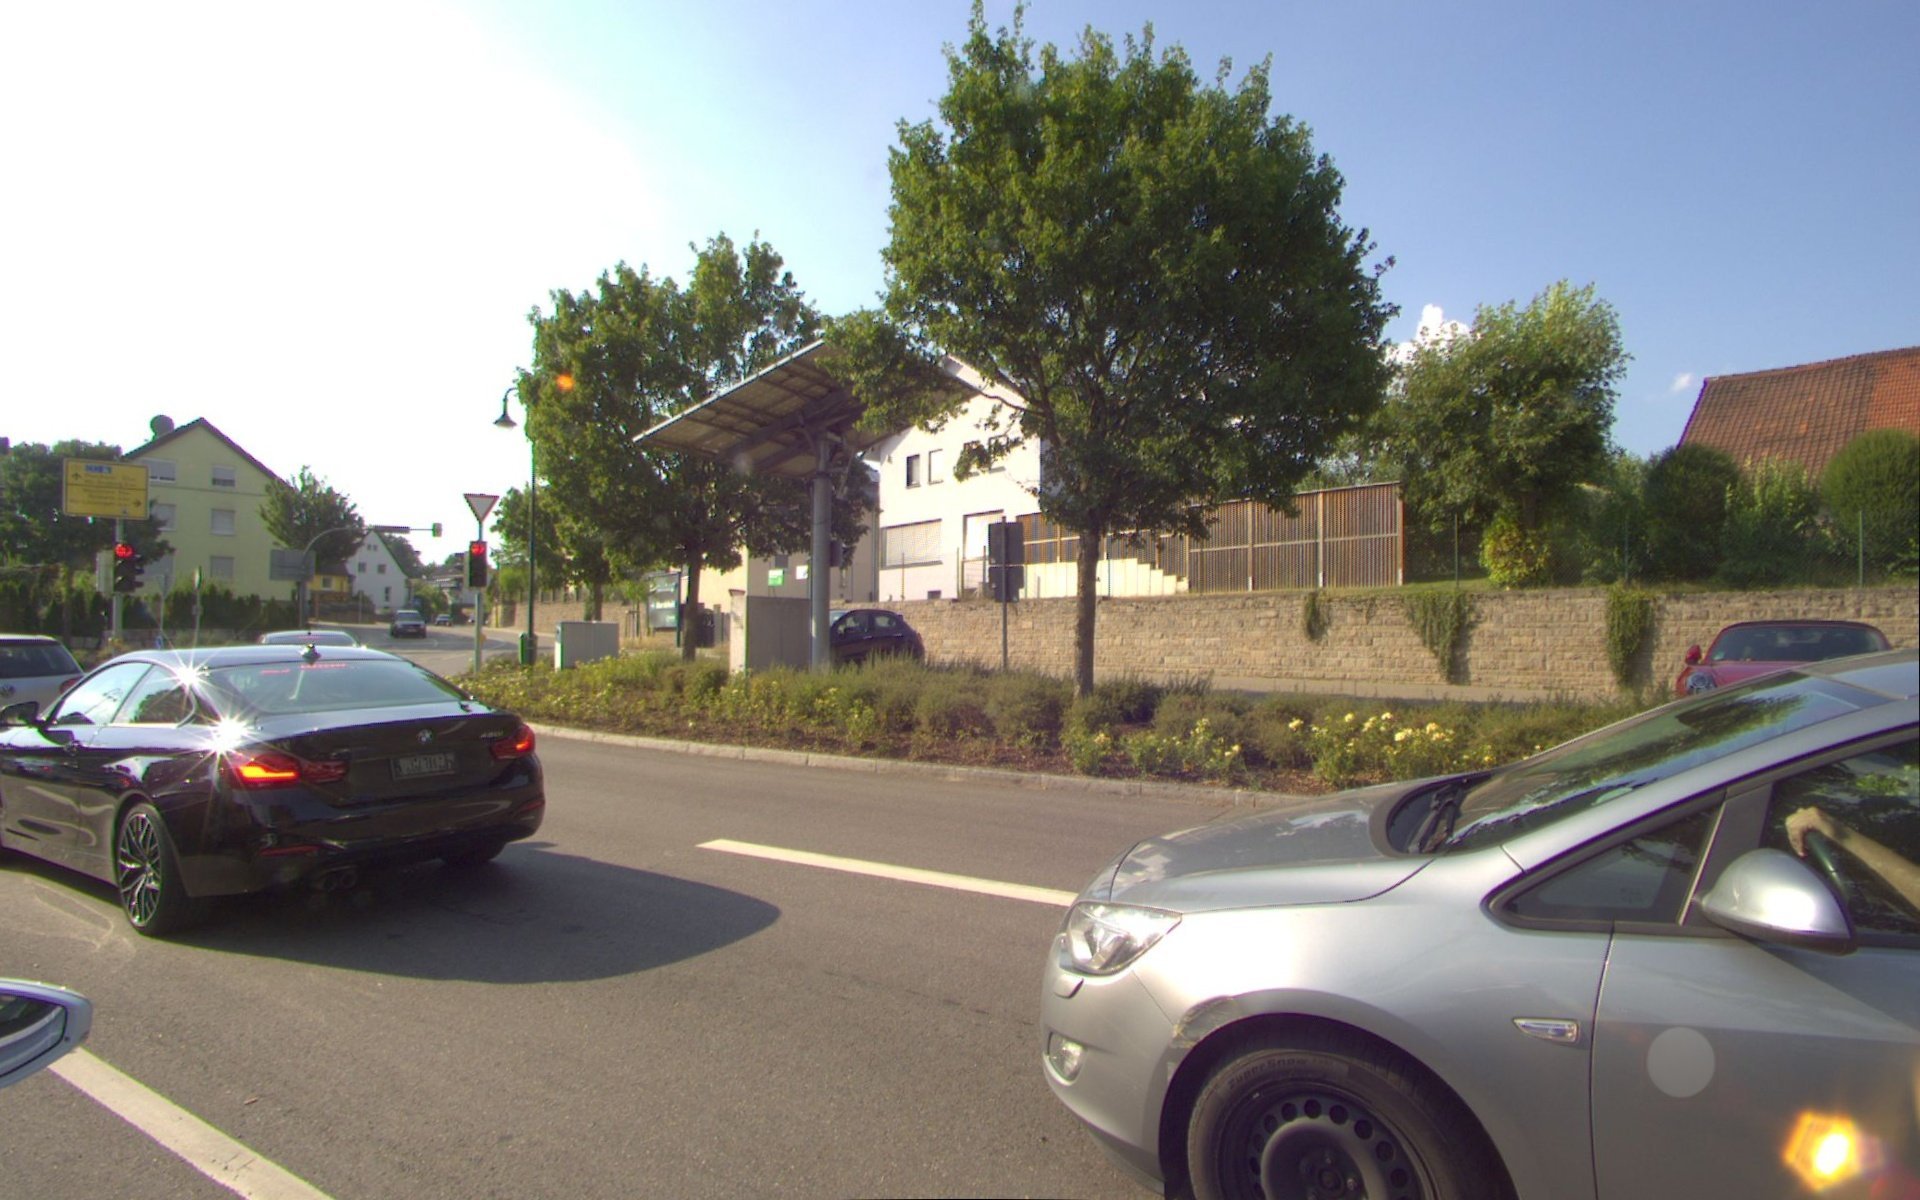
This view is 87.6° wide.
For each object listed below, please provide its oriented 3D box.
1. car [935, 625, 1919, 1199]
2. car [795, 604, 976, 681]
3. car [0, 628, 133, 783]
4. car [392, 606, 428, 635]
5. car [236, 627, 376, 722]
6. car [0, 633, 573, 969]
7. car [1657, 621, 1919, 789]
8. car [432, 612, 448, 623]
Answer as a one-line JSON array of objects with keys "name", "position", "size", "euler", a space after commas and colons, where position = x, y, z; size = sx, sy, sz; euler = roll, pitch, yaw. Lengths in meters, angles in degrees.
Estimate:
[{"name": "car", "position": [2.128, 0.791, 2.210], "size": [4.107, 1.460, 1.741], "euler": [-1, -2, 32]}, {"name": "car", "position": [-1.643, 0.961, 23.111], "size": [1.835, 1.628, 3.964], "euler": [-1, -2, 45]}, {"name": "car", "position": [-10.780, 1.029, 10.737], "size": [4.287, 1.465, 1.812], "euler": [-1, -2, 34]}, {"name": "car", "position": [-33.550, 1.220, 61.017], "size": [1.766, 1.528, 4.045], "euler": [-2, 3, -30]}, {"name": "car", "position": [-11.684, 1.215, 17.752], "size": [1.667, 1.454, 4.554], "euler": [1, -2, -38]}, {"name": "car", "position": [-4.501, 0.916, 6.204], "size": [4.287, 1.406, 1.812], "euler": [-1, -2, 34]}, {"name": "car", "position": [8.218, 0.873, 9.642], "size": [1.835, 1.288, 3.964], "euler": [-1, -2, 45]}, {"name": "car", "position": [-64.605, 2.165, 124.442], "size": [1.691, 1.260, 3.981], "euler": [1, -1, -28]}]
